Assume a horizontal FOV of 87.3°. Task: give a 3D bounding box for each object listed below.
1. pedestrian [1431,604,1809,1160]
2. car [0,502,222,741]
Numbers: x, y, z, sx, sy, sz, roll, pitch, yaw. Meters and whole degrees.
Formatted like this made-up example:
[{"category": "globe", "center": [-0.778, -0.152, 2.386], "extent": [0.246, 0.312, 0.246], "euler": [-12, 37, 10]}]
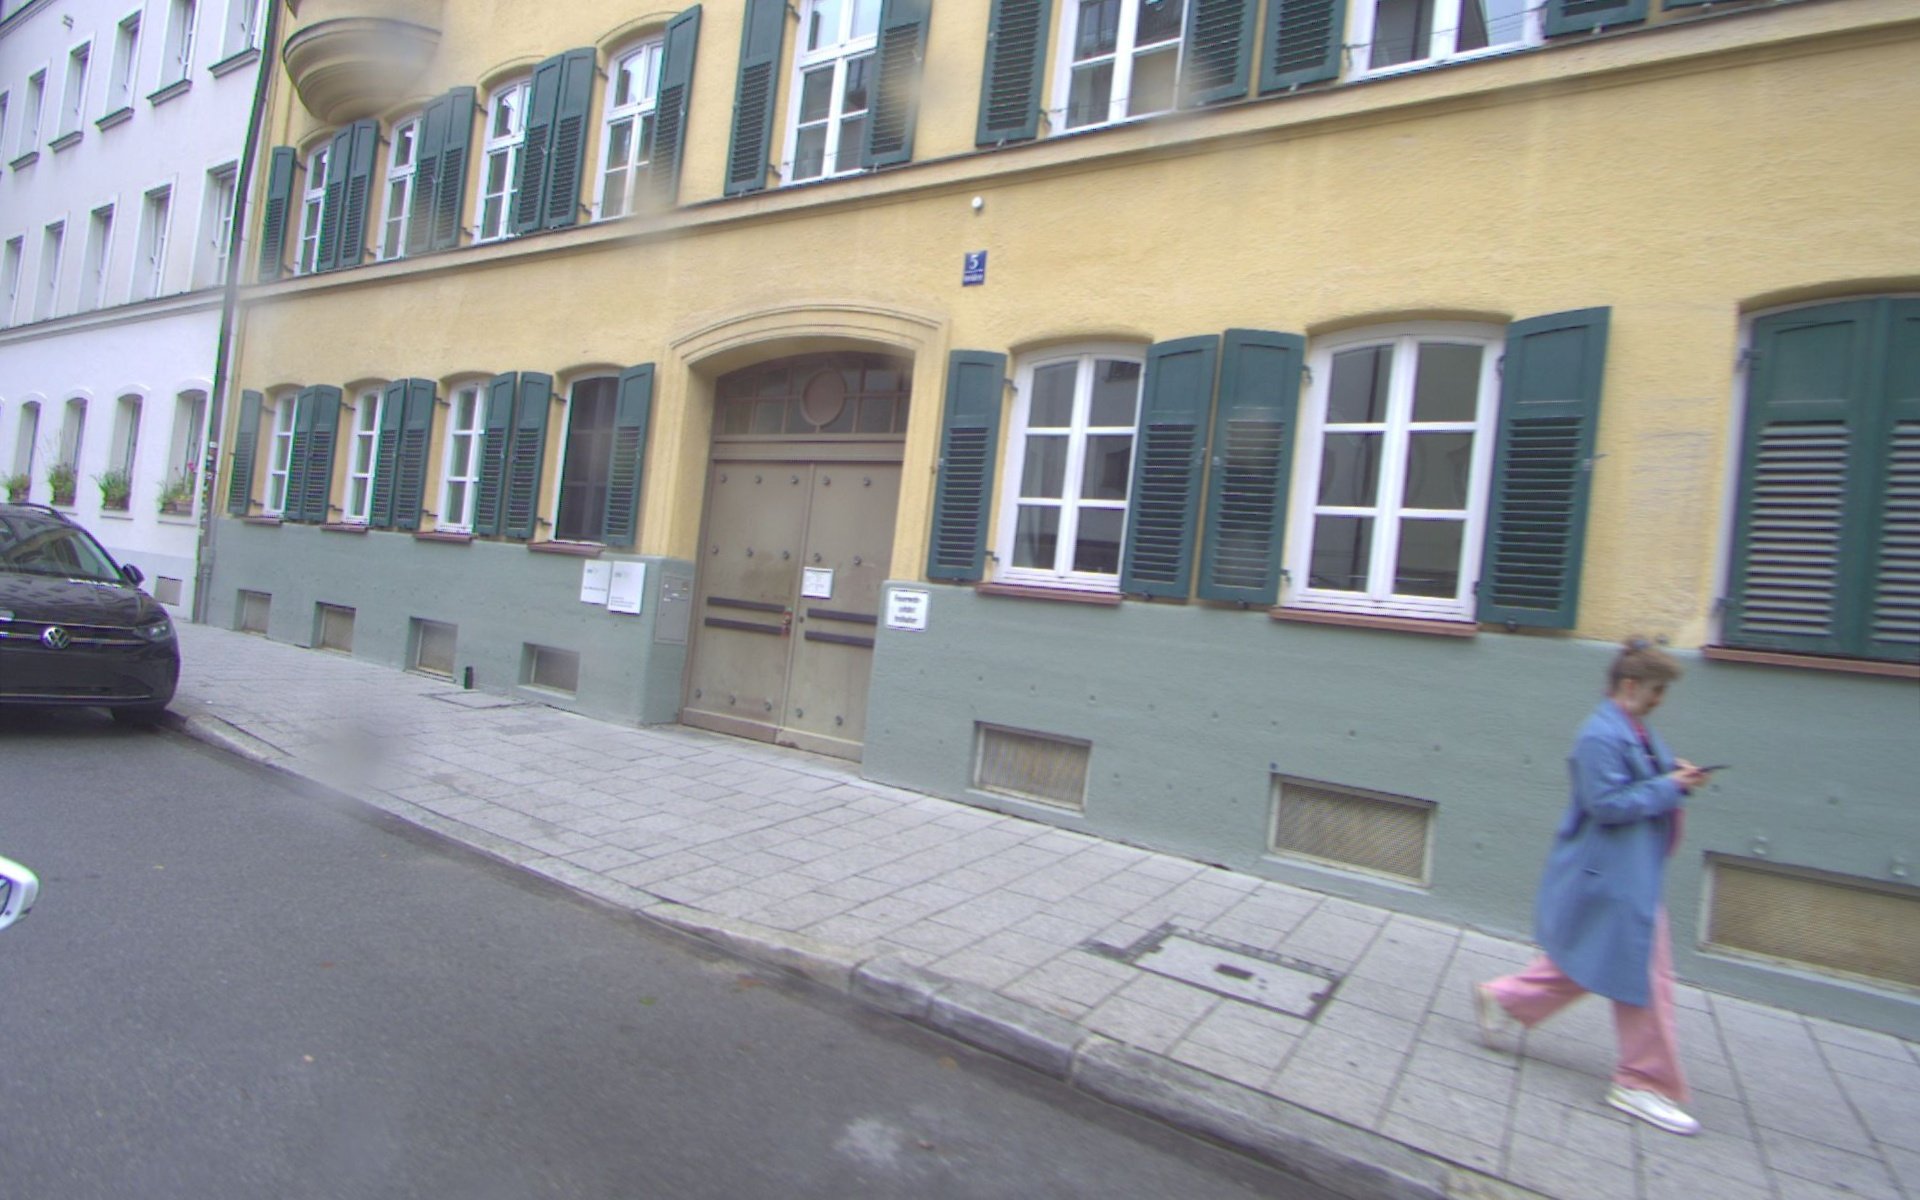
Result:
[{"category": "pedestrian", "center": [2.294, 0.896, 3.601], "extent": [0.881, 1.660, 0.597], "euler": [7, 3, 31]}, {"category": "car", "center": [-7.461, -0.020, 7.514], "extent": [3.935, 1.481, 1.748], "euler": [6, -1, 33]}]
